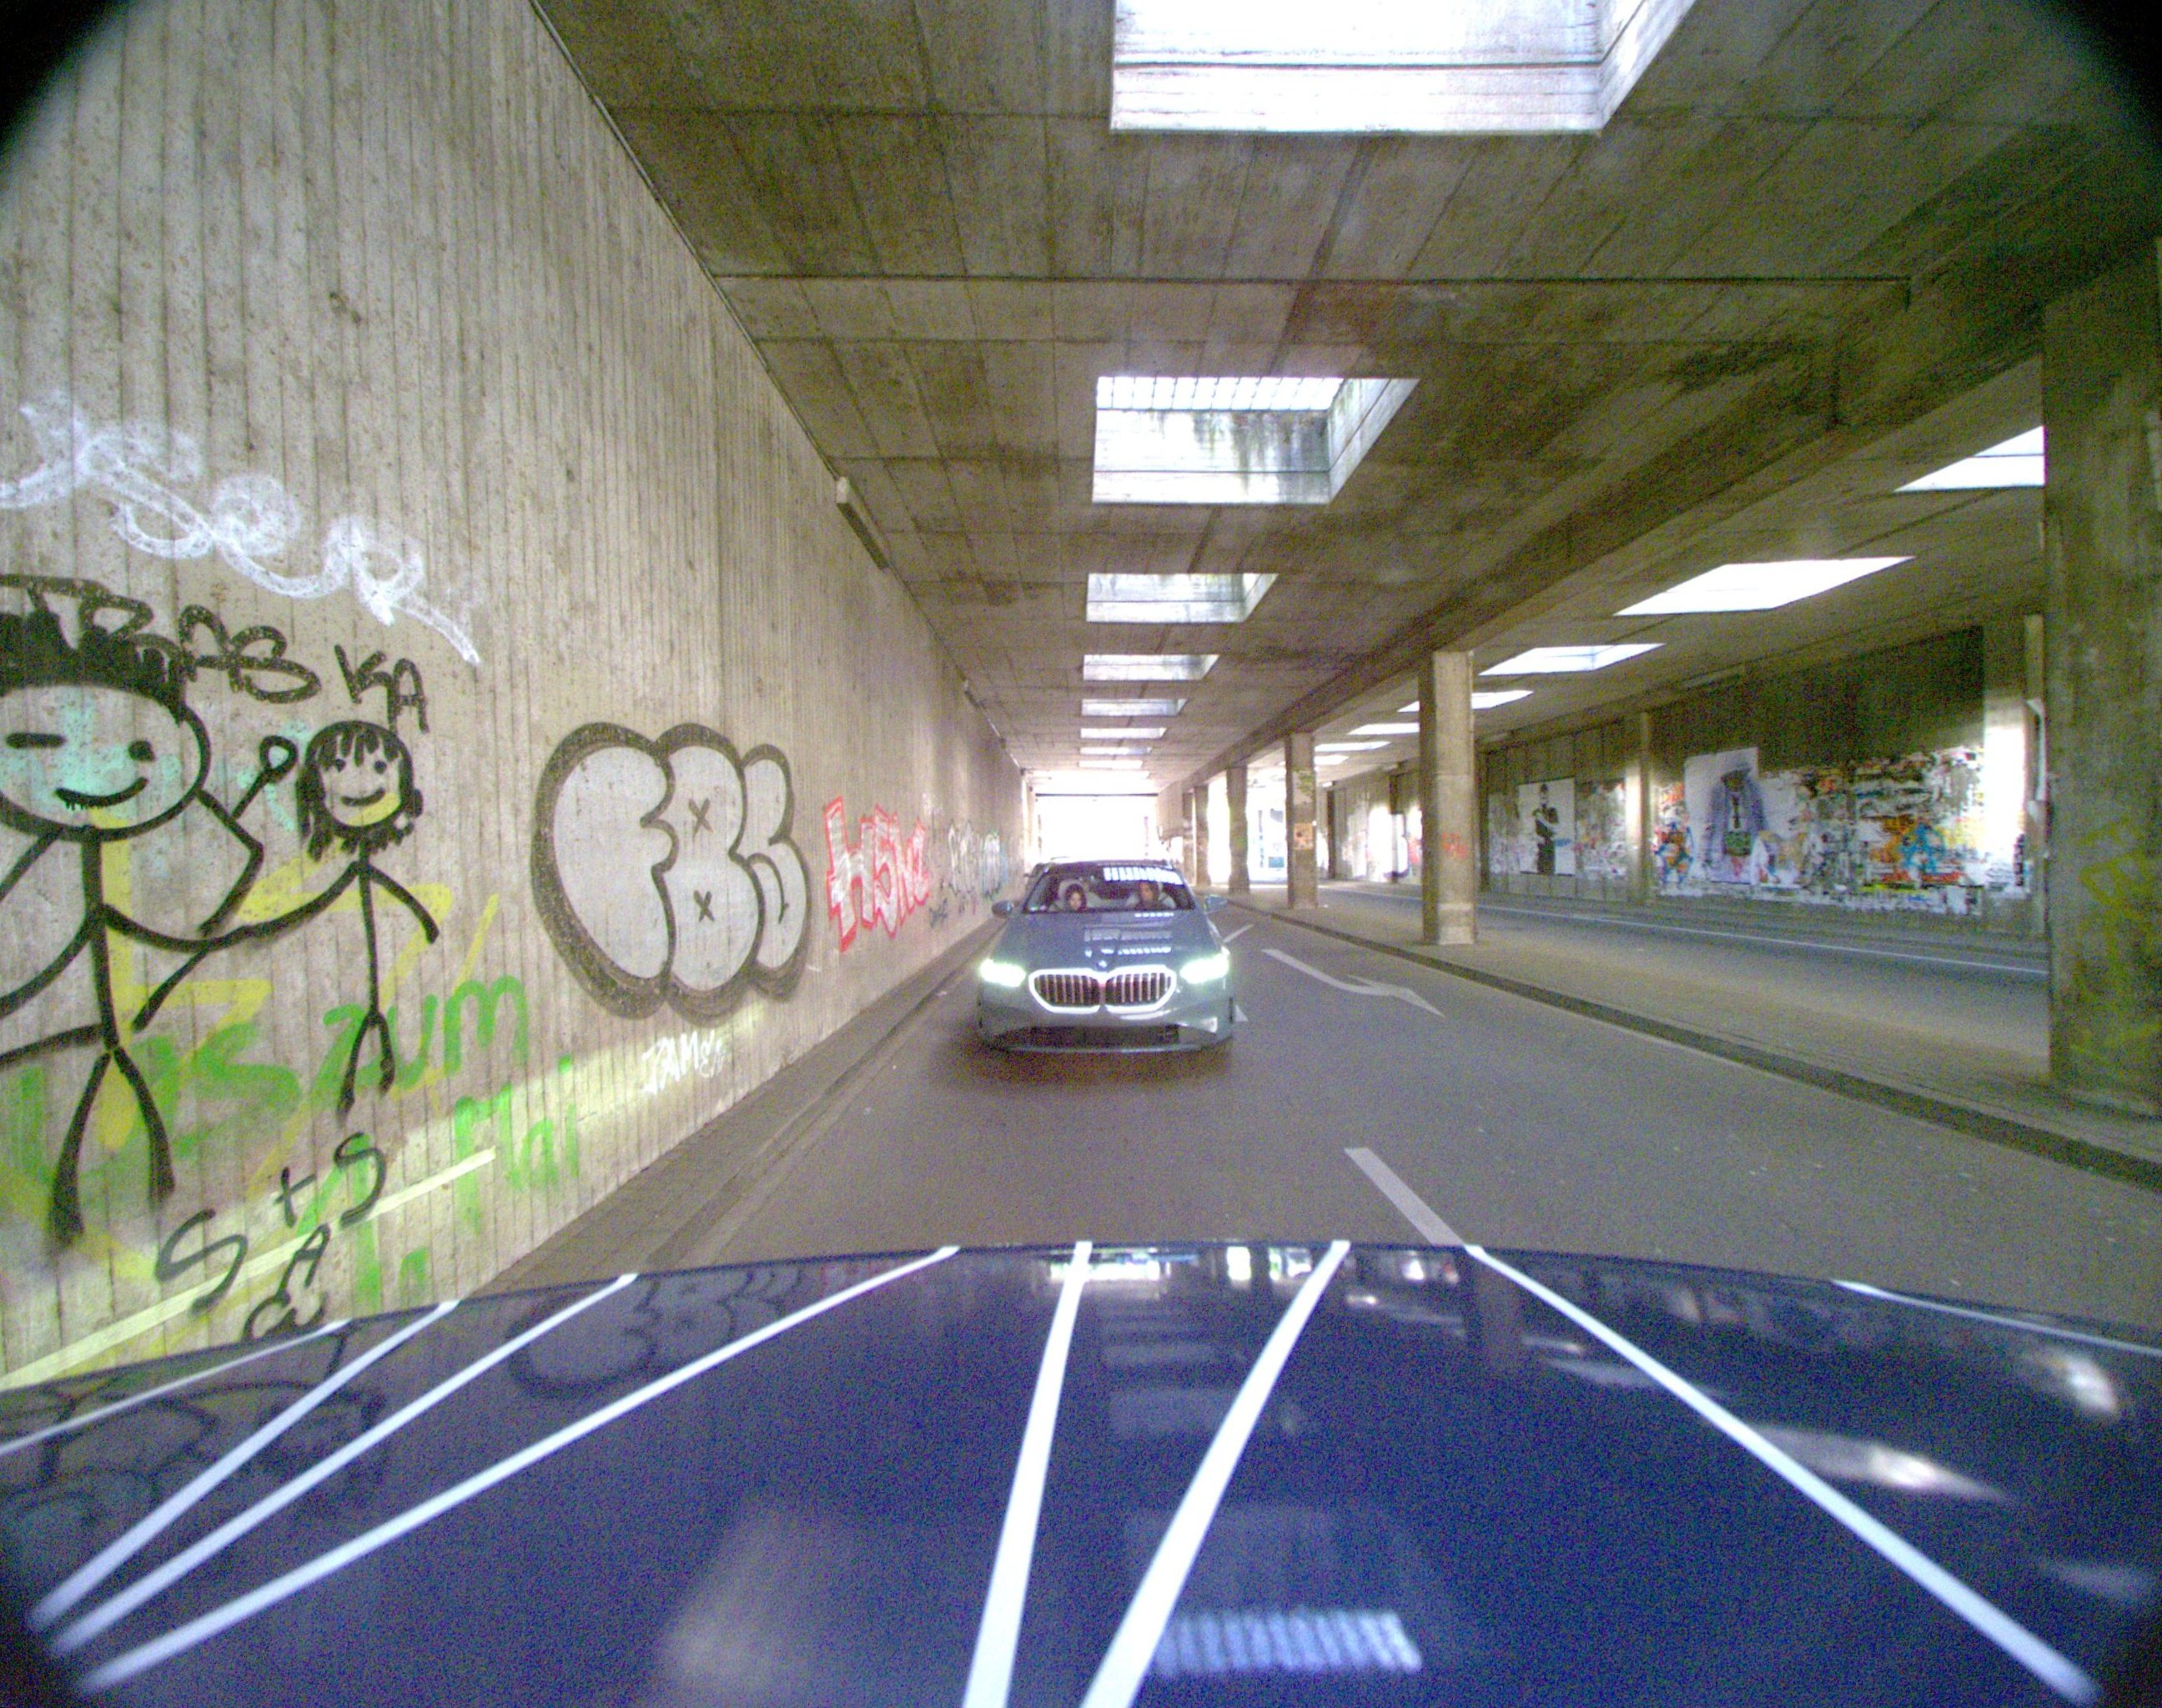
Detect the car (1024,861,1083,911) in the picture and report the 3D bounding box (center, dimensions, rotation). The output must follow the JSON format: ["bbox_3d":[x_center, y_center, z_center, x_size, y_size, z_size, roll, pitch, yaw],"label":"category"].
[{"bbox_3d":[-0.768,0.937,23.826,1.616,1.367,4.199,-1,0,1],"label":"car"}]

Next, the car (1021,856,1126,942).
[{"bbox_3d":[-0.116,0.858,16.487,1.957,1.546,4.247,-1,0,1],"label":"car"}]

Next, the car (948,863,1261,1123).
[{"bbox_3d":[0.184,0.911,7.339,1.957,1.546,5.040,-1,0,1],"label":"car"}]

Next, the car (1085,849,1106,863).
[{"bbox_3d":[1.637,0.254,88.061,1.934,1.543,3.997,-1,0,-6],"label":"car"}]

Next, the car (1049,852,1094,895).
[{"bbox_3d":[-0.313,0.710,30.002,1.616,1.546,4.013,-1,0,1],"label":"car"}]

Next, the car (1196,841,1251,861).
[{"bbox_3d":[13.697,-0.279,73.075,4.814,1.823,1.999,-1,0,-4],"label":"car"}]
